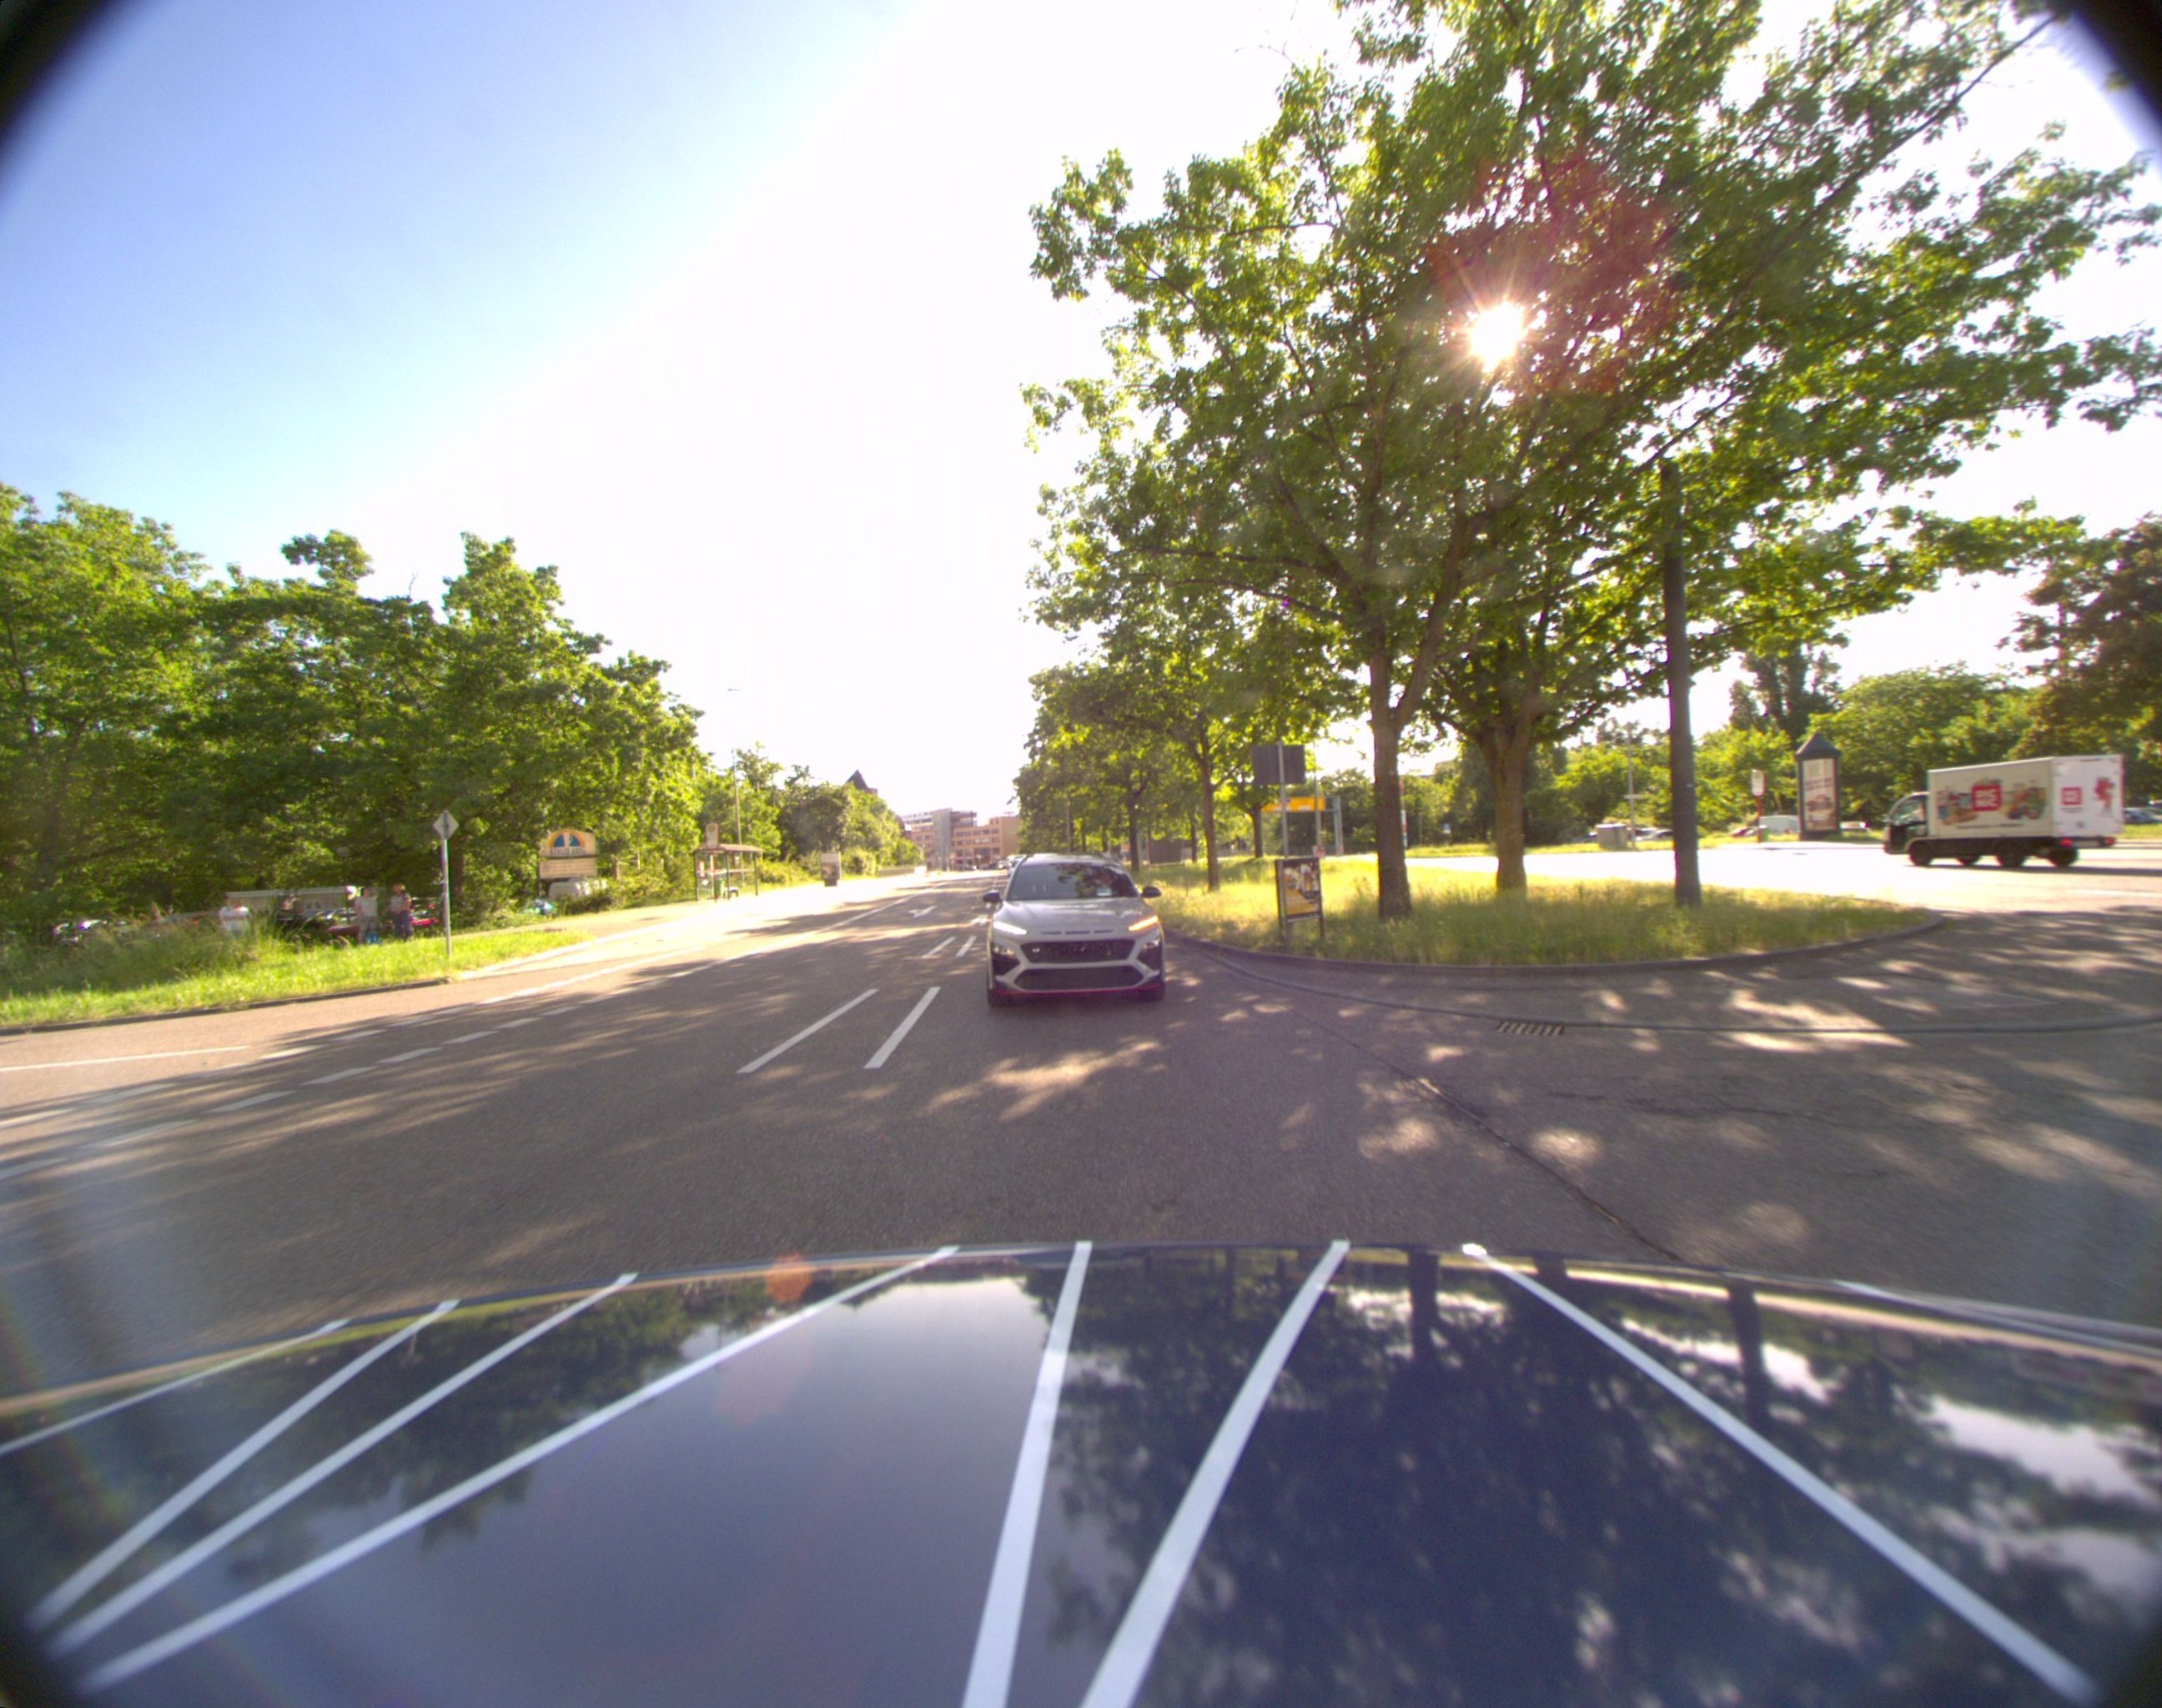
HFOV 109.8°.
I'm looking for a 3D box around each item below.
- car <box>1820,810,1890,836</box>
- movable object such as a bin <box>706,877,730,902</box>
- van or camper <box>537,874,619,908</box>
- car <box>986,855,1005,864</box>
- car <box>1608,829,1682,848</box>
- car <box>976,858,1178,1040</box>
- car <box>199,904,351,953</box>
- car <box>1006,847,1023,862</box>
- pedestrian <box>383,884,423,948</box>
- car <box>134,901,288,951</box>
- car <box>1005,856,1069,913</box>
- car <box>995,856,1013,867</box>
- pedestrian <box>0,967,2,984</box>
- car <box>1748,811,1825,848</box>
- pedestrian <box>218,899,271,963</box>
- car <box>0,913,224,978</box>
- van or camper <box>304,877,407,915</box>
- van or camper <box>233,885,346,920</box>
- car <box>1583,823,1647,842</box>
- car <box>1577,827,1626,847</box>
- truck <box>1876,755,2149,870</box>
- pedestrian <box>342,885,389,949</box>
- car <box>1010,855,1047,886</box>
[{"bbox_3d":[45.373,-1.806,44.549,4.006,1.275,1.995,-4,1,-32],"label":"car"},{"bbox_3d":[-16.108,1.569,33.726,0.729,1.024,0.578,-3,1,-6],"label":"movable object such as a bin"},{"bbox_3d":[-32.983,2.373,50.080,2.459,1.902,5.323,-3,0,-10],"label":"van or camper"},{"bbox_3d":[-17.896,1.133,158.855,3.999,1.622,1.999,-3,1,-7],"label":"car"},{"bbox_3d":[40.328,-1.085,54.433,1.822,1.122,3.996,-3,0,-12],"label":"car"},{"bbox_3d":[-0.175,0.878,8.973,1.781,1.542,3.978,-3,0,-4],"label":"car"},{"bbox_3d":[-35.798,3.234,33.971,1.757,1.739,4.778,-5,-2,-3],"label":"car"},{"bbox_3d":[-8.415,0.065,96.035,1.745,1.538,4.002,-5,-3,-1],"label":"car"},{"bbox_3d":[-18.659,1.693,20.912,0.604,1.690,0.410,-3,1,-6],"label":"pedestrian"},{"bbox_3d":[-37.878,3.073,33.257,1.999,1.587,3.998,-4,1,-1],"label":"car"},{"bbox_3d":[-1.310,0.893,24.003,1.745,1.539,3.999,-3,0,-1],"label":"car"},{"bbox_3d":[-11.769,1.164,115.685,1.831,1.464,3.994,-3,1,-17],"label":"car"},{"bbox_3d":[-24.318,2.109,16.505,0.705,1.610,0.566,-5,2,-11],"label":"pedestrian"},{"bbox_3d":[44.184,-1.546,47.558,5.007,2.002,2.234,-3,1,-31],"label":"car"},{"bbox_3d":[-20.669,1.892,18.783,0.529,1.509,0.613,-3,1,-3],"label":"pedestrian"},{"bbox_3d":[-30.716,2.823,23.906,1.999,1.528,4.890,-5,-2,-3],"label":"car"},{"bbox_3d":[-48.621,2.733,51.143,2.459,2.146,5.322,-3,0,-11],"label":"van or camper"},{"bbox_3d":[-52.300,3.139,50.415,2.459,1.902,5.323,-3,0,-10],"label":"van or camper"},{"bbox_3d":[50.920,-2.041,72.523,2.003,1.456,4.546,-5,2,-35],"label":"car"},{"bbox_3d":[40.399,-1.311,59.059,1.819,1.440,4.003,-3,0,13],"label":"car"},{"bbox_3d":[22.448,-0.927,18.626,1.792,2.413,4.111,-3,1,5],"label":"truck"},{"bbox_3d":[-19.194,1.682,20.398,0.624,1.625,0.551,-3,1,-5],"label":"pedestrian"},{"bbox_3d":[-2.732,0.850,40.477,1.678,1.499,3.948,-3,0,-1],"label":"car"}]
